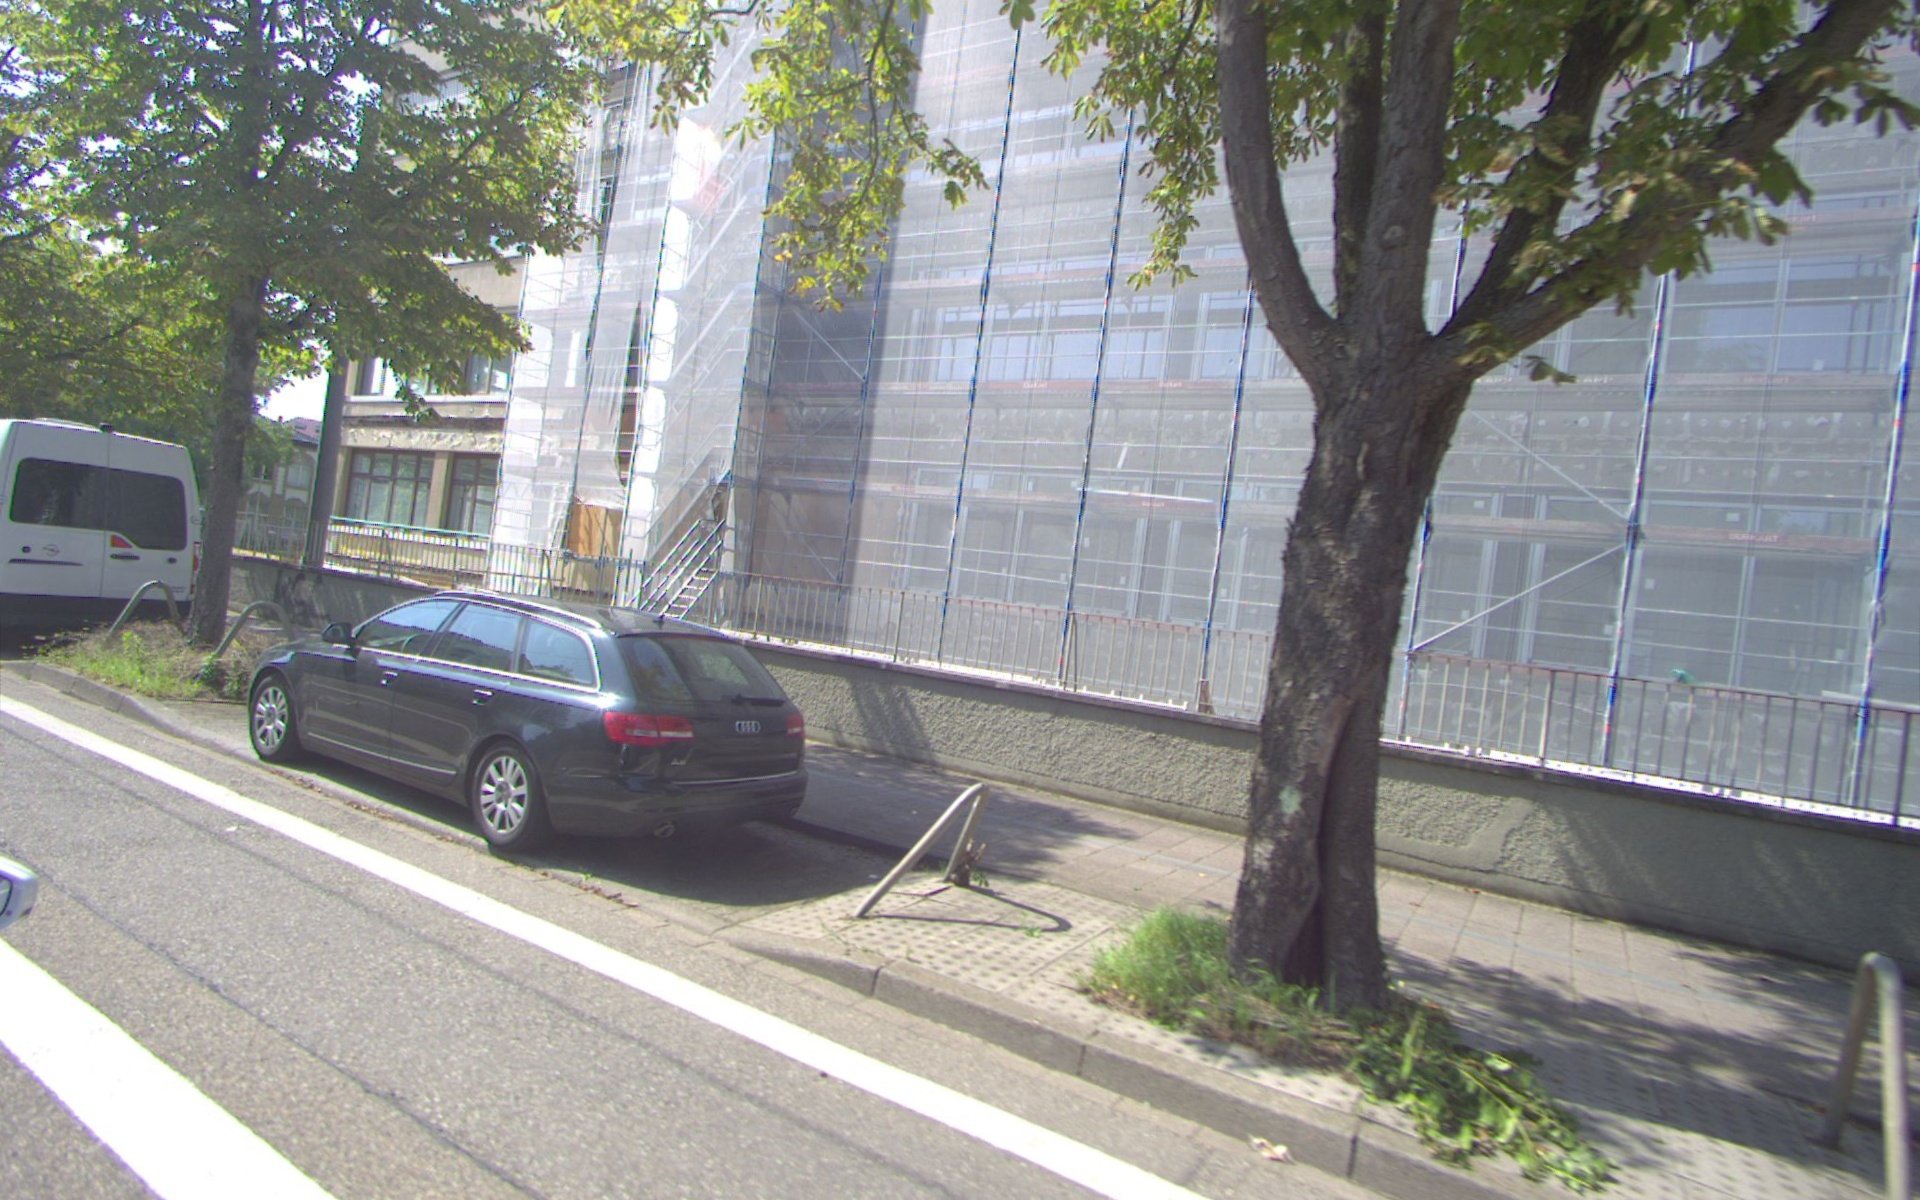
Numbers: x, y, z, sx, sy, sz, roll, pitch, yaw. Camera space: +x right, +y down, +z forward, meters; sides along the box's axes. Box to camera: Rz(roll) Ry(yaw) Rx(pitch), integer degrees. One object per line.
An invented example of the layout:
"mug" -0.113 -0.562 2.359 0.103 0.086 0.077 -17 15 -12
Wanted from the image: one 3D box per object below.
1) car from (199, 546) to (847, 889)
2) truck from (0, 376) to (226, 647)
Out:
"car" -3.253 0.618 7.116 4.724 1.457 1.688 6 -2 32
"truck" -11.566 -1.109 12.288 5.498 2.629 1.921 6 -1 30
